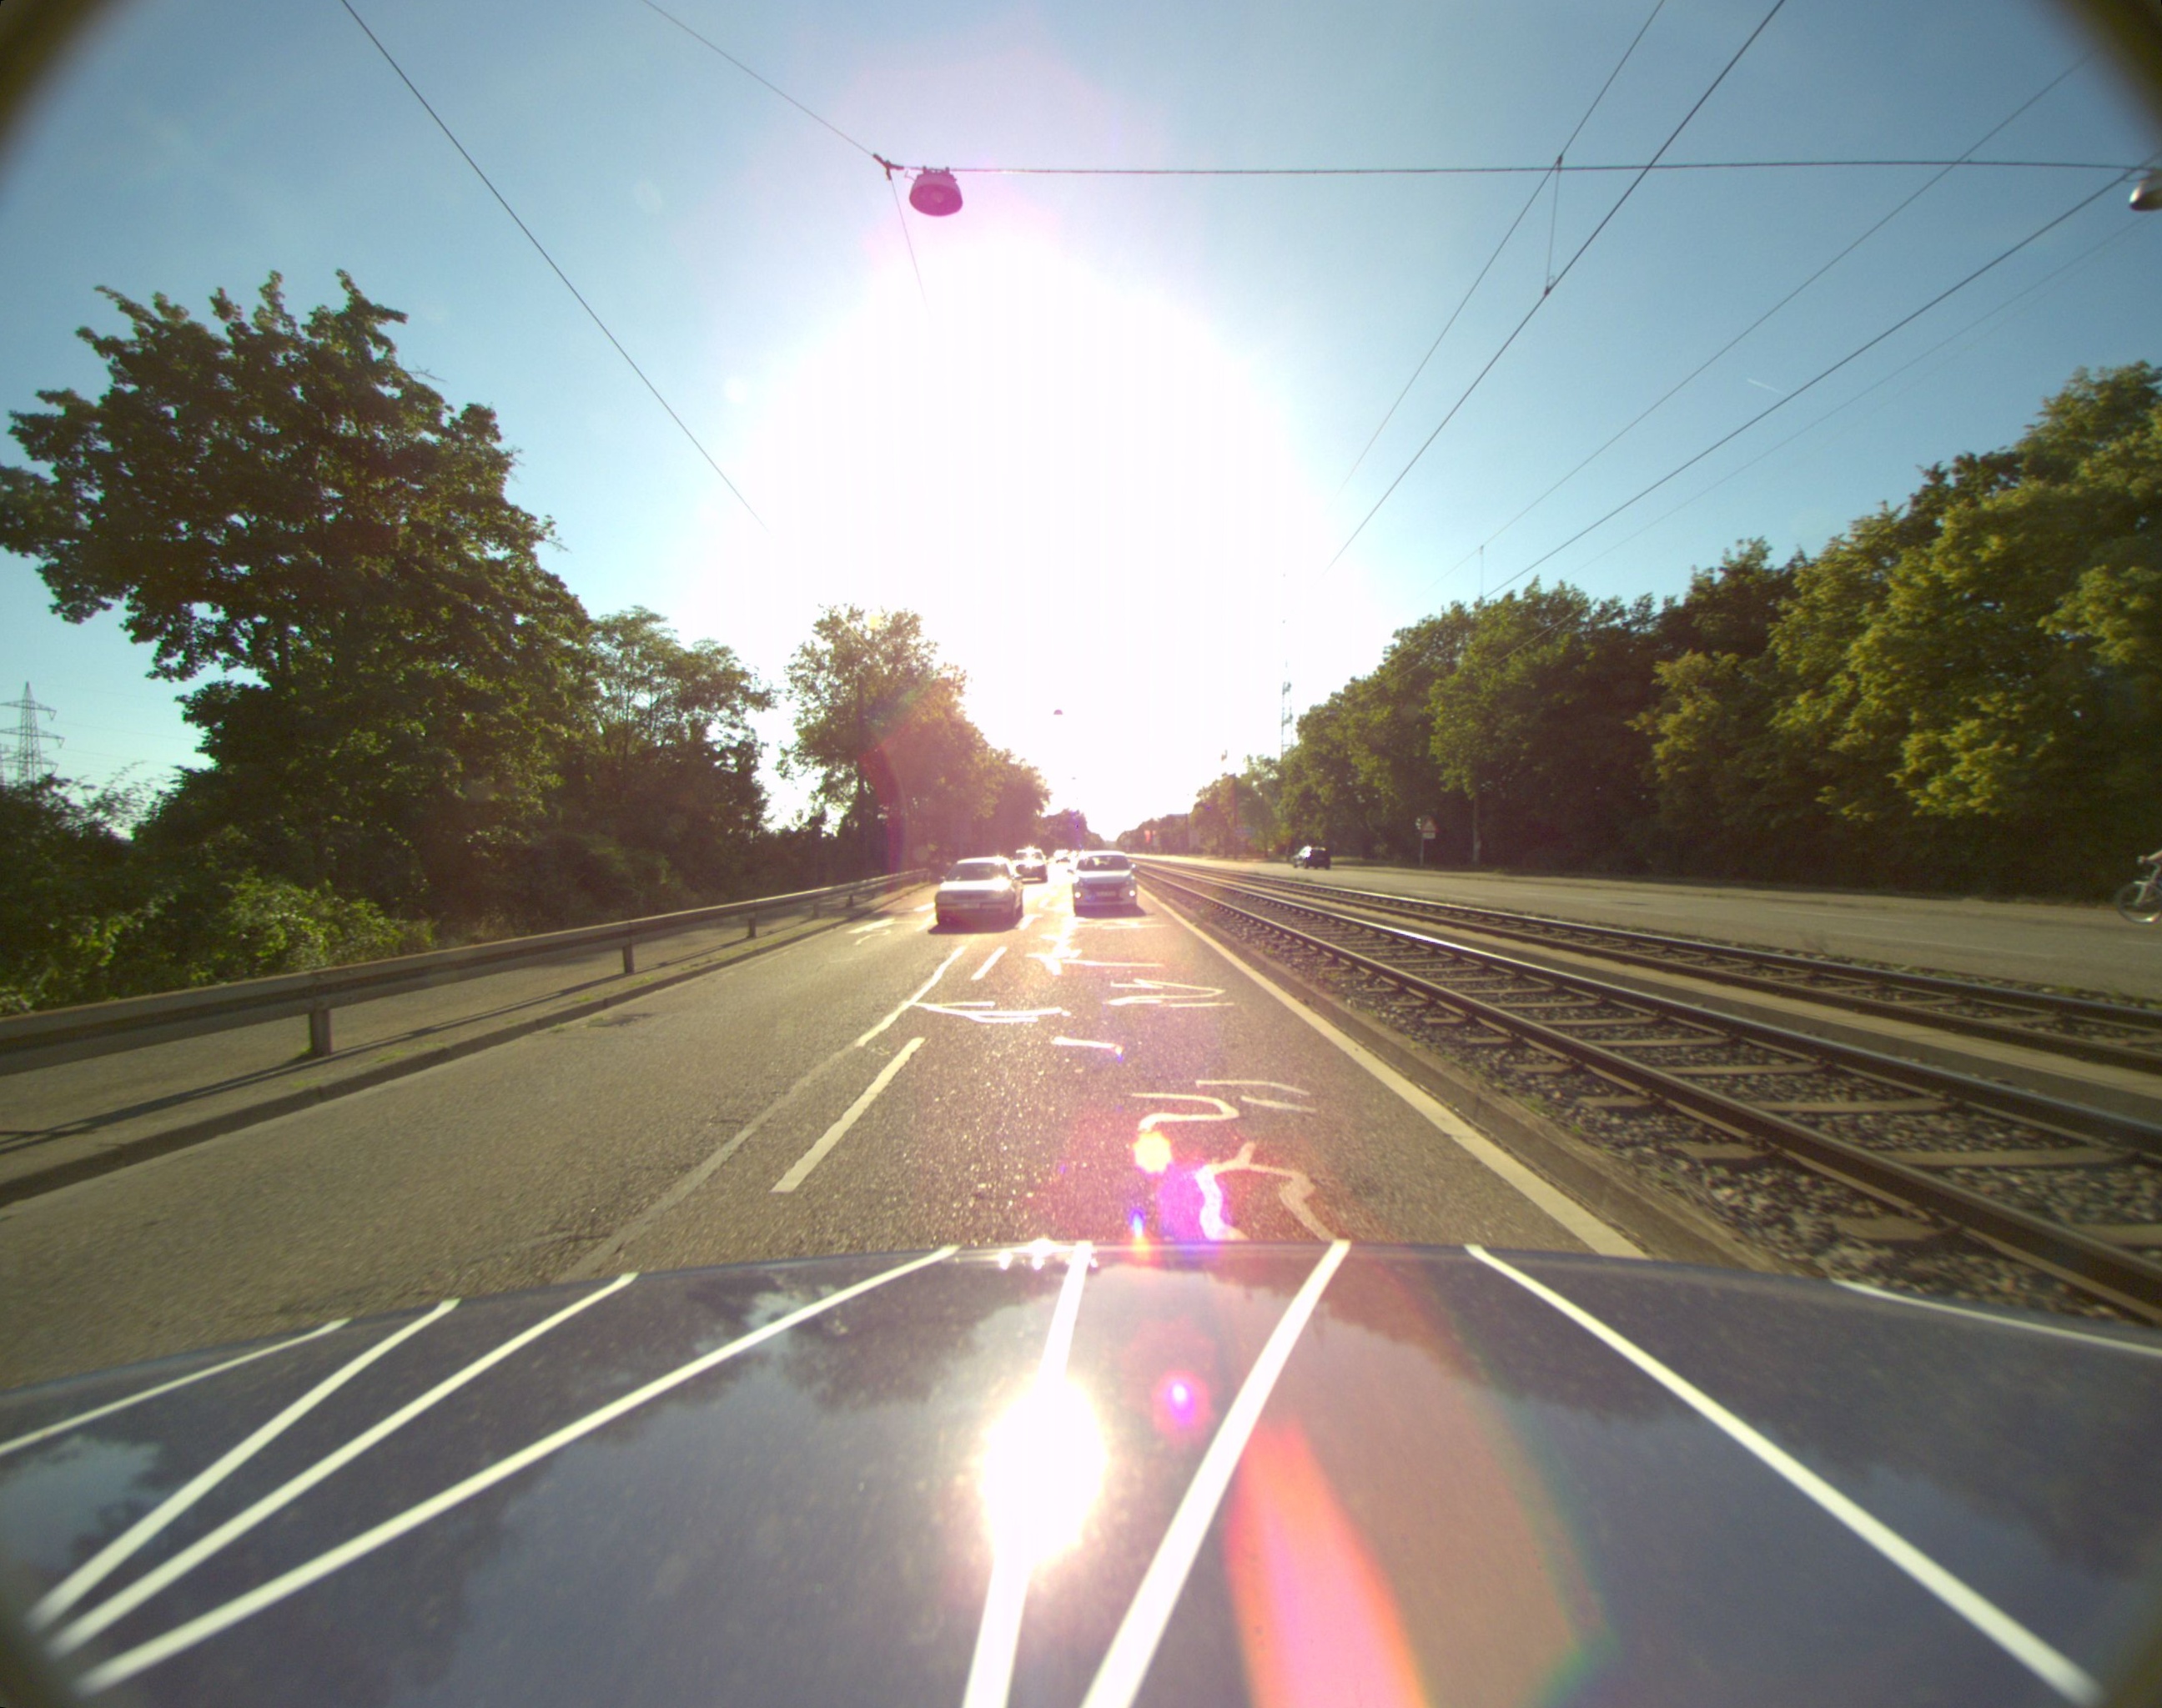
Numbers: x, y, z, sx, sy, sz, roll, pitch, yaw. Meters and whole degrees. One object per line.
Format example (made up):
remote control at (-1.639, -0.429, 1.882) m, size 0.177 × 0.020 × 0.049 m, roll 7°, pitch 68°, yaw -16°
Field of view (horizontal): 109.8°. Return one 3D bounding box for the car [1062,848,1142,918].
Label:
car at (0.586, 0.694, 20.535) m, size 1.881 × 1.591 × 4.416 m, roll -2°, pitch 1°, yaw 2°

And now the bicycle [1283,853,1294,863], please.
bicycle at (21.073, 0.372, 77.208) m, size 0.552 × 0.980 × 2.238 m, roll -3°, pitch 1°, yaw 2°

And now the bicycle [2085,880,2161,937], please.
bicycle at (18.264, 0.935, 12.650) m, size 0.509 × 0.887 × 2.027 m, roll -3°, pitch 1°, yaw 4°

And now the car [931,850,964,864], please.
car at (-17.213, 0.371, 97.889) m, size 4.002 × 1.655 × 1.888 m, roll -1°, pitch 1°, yaw -16°

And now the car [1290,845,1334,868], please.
car at (17.786, 0.173, 58.681) m, size 1.998 × 1.676 × 4.795 m, roll 0°, pitch 1°, yaw 1°

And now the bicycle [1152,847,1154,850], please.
bicycle at (23.213, -1.736, 244.272) m, size 0.591 × 1.016 × 2.185 m, roll -1°, pitch 1°, yaw 0°

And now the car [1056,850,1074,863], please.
car at (-1.963, 0.338, 94.037) m, size 1.881 × 1.449 × 4.416 m, roll -2°, pitch 1°, yaw 2°

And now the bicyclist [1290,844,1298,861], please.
bicyclist at (21.683, -0.172, 77.287) m, size 0.551 × 1.681 × 0.820 m, roll -3°, pitch 1°, yaw 5°

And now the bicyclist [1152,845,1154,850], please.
bicyclist at (23.206, -2.039, 244.295) m, size 0.591 × 1.601 × 0.967 m, roll -1°, pitch 1°, yaw 0°

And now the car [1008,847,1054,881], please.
car at (-2.563, 0.495, 39.923) m, size 1.881 × 1.591 × 4.416 m, roll -2°, pitch 1°, yaw 2°

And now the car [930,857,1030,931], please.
car at (-2.274, 0.849, 18.080) m, size 1.695 × 1.437 × 4.001 m, roll -2°, pitch 1°, yaw 2°

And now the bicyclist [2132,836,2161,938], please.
bicyclist at (18.238, 0.546, 12.534) m, size 0.509 × 1.677 × 0.919 m, roll -3°, pitch 1°, yaw 4°
